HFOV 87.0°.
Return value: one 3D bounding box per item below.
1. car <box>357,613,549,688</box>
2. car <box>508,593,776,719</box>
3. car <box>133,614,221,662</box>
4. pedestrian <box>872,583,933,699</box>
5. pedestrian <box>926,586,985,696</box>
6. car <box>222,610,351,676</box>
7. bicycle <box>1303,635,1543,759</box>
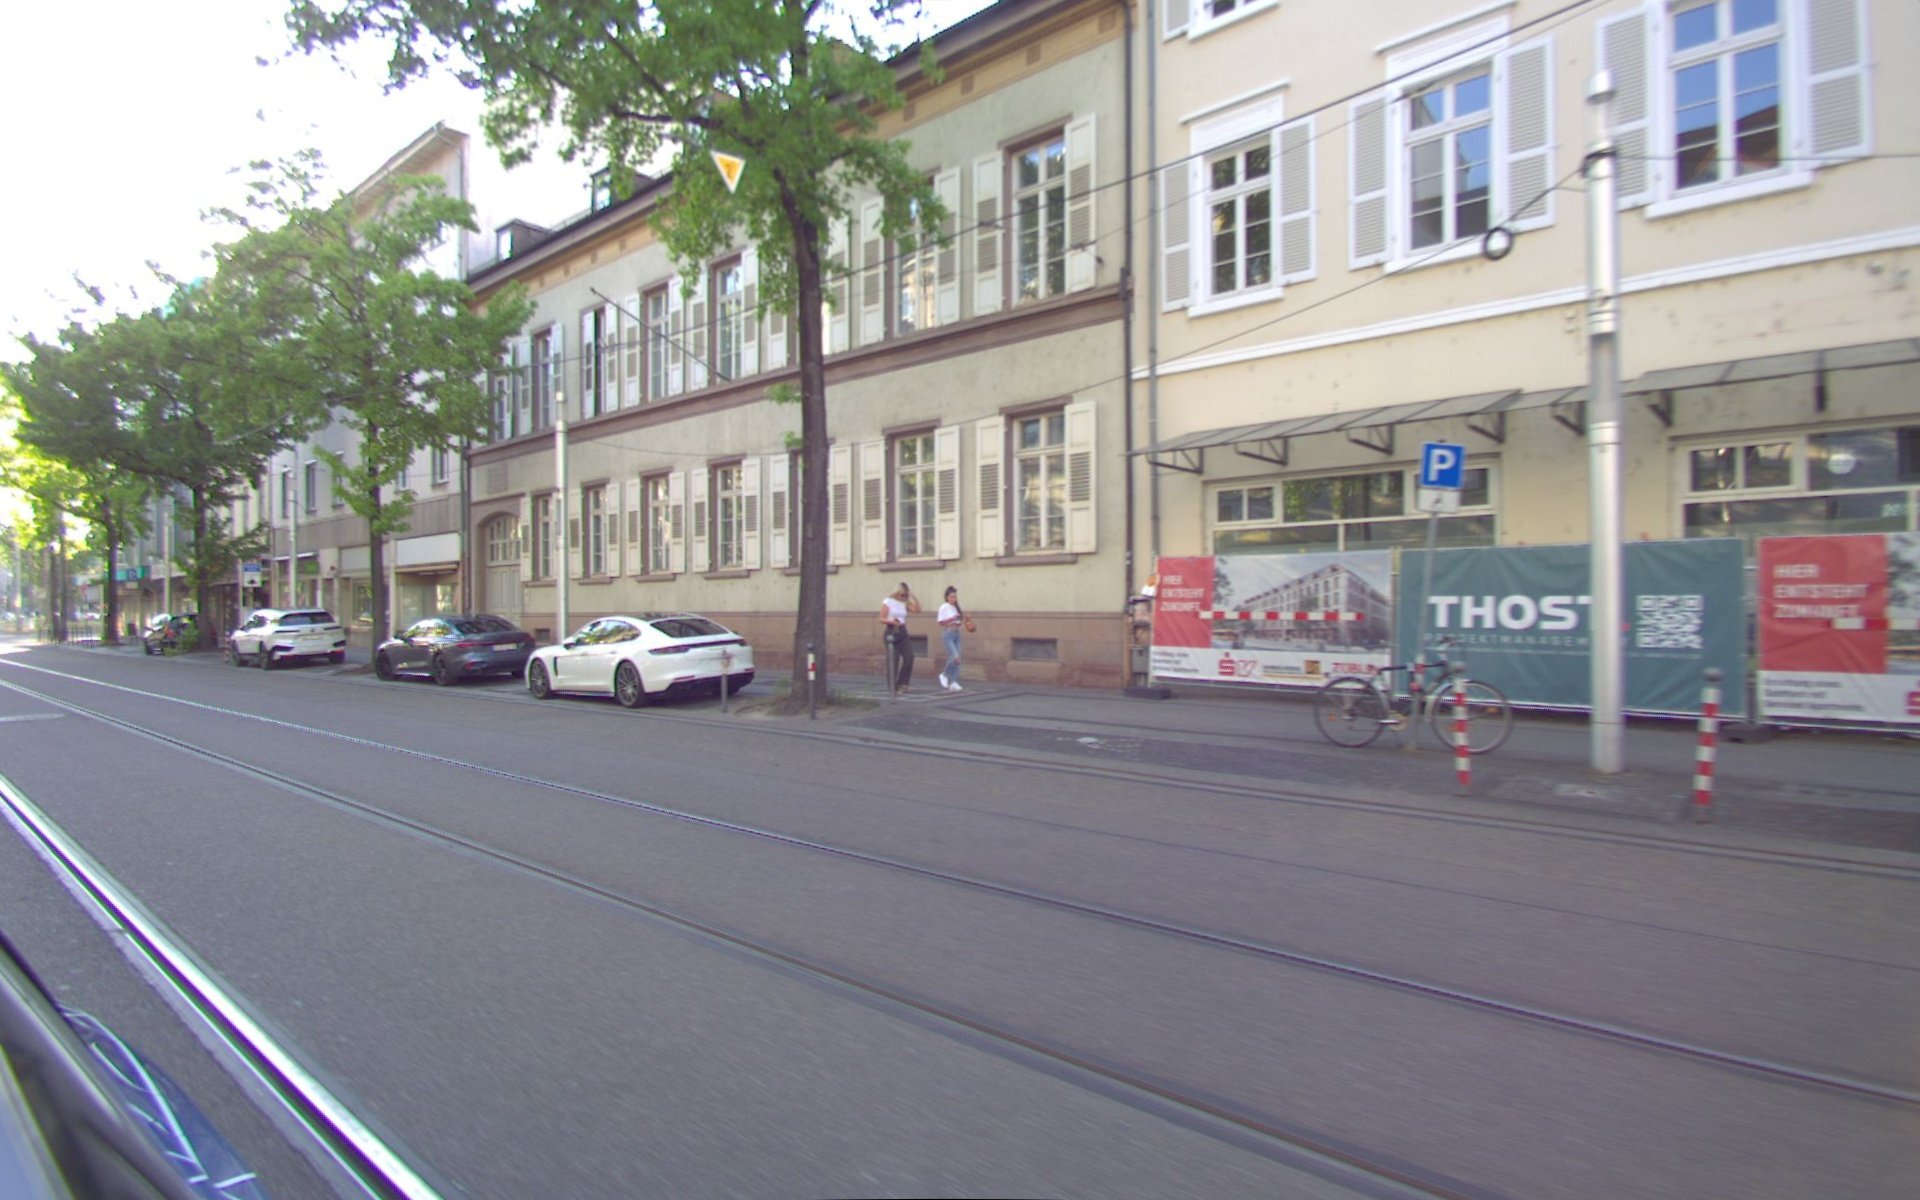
[{"bbox_3d":[-11.176,1.026,22.163,4.841,1.423,1.943,-1,0,39],"label":"car"},{"bbox_3d":[-5.407,0.817,16.821,4.908,1.651,1.927,-1,5,42],"label":"car"},{"bbox_3d":[-30.619,1.436,39.539,3.998,1.652,1.942,-1,2,41],"label":"car"},{"bbox_3d":[-0.885,0.624,15.626,0.656,1.734,0.679,-1,-1,41],"label":"pedestrian"},{"bbox_3d":[-0.069,0.633,16.077,0.647,1.692,0.667,-1,-1,41],"label":"pedestrian"},{"bbox_3d":[-19.766,1.195,29.607,4.811,1.652,1.941,-1,2,42],"label":"car"},{"bbox_3d":[4.385,0.877,9.667,2.004,1.058,0.588,-1,-1,34],"label":"bicycle"}]
